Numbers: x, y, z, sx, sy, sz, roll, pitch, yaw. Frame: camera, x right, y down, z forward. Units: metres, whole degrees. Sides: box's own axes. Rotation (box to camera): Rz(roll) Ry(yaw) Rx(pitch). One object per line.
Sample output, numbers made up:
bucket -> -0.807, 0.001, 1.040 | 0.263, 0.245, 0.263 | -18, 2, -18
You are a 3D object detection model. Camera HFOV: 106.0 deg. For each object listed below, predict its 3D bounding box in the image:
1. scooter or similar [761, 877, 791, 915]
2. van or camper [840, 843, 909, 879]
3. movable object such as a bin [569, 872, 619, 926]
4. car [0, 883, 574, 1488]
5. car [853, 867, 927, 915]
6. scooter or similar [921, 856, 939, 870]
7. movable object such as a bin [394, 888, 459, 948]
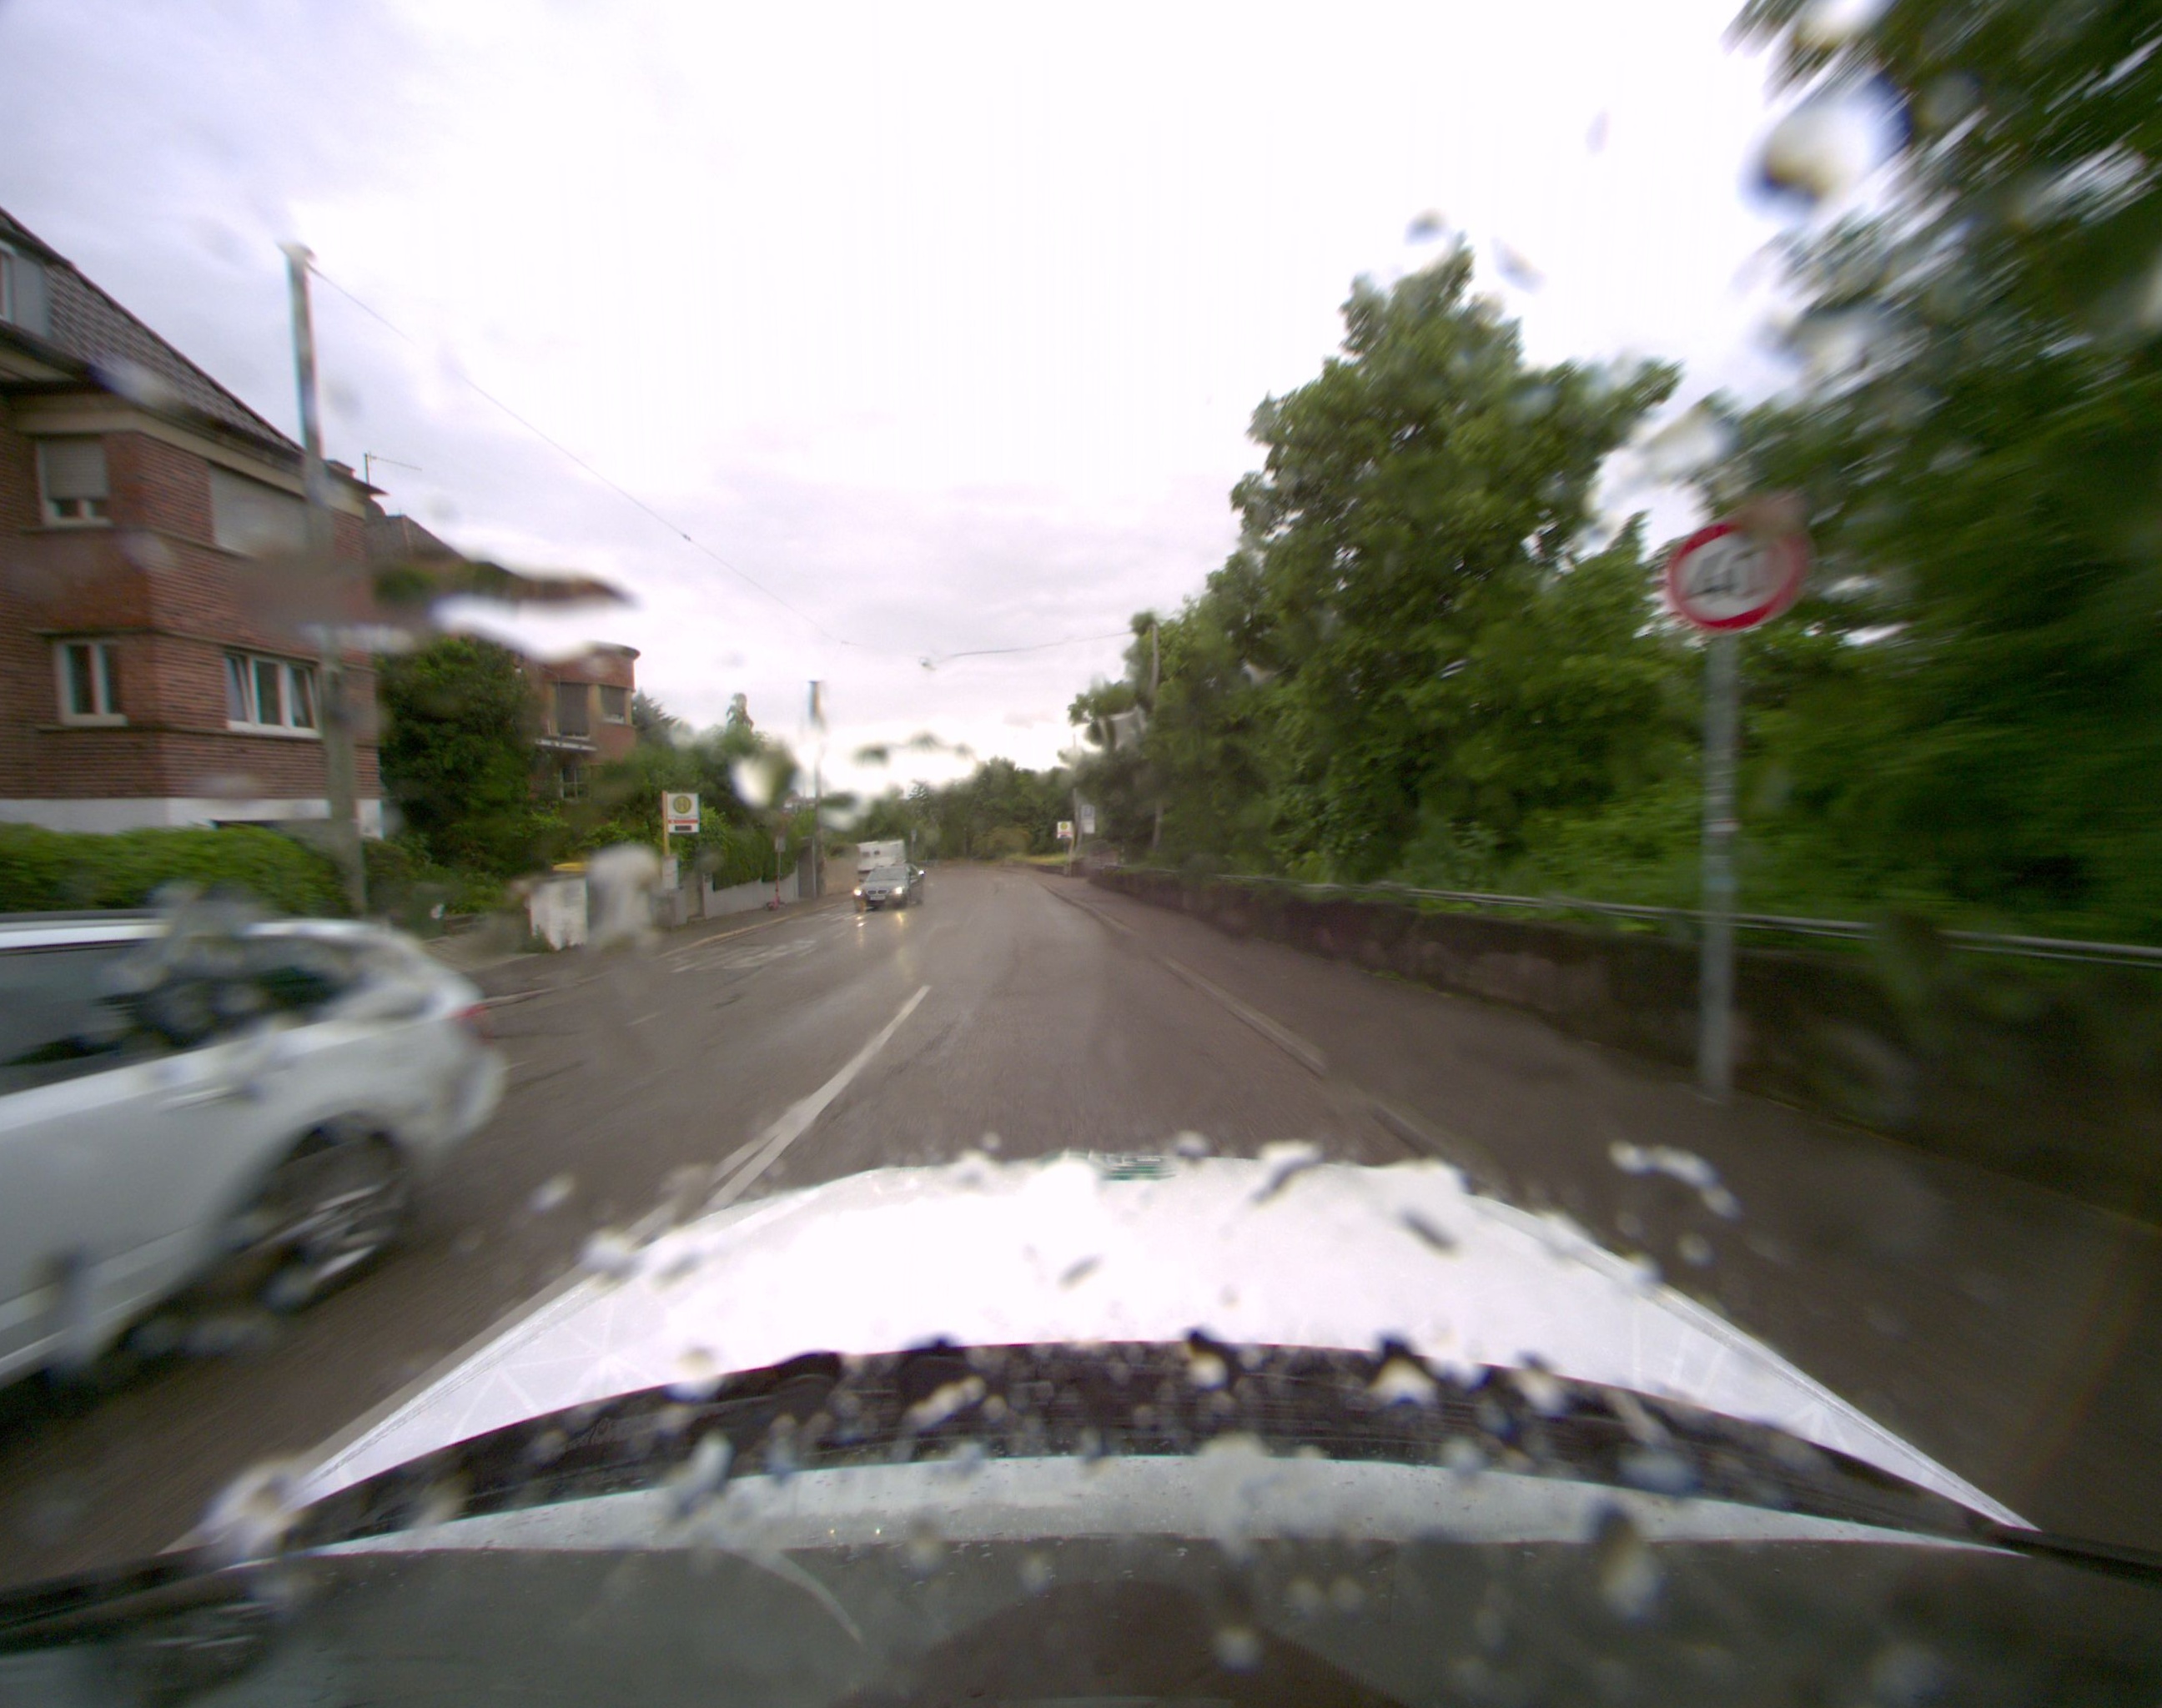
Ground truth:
scooter or similar -> -10.489, 1.438, 28.041 | 0.521, 1.203, 1.433 | -4, 0, -5
van or camper -> -20.503, 0.696, 80.698 | 6.203, 2.942, 2.413 | -3, 5, 25
movable object such as a bin -> -10.484, 0.965, 17.563 | 0.623, 1.081, 0.759 | 2, 1, -3
car -> -3.710, 0.929, 2.004 | 1.839, 1.474, 4.446 | -4, -1, 4
car -> -6.692, 1.258, 28.957 | 1.734, 1.450, 4.609 | -3, -1, -4
scooter or similar -> -15.049, 0.912, 80.998 | 1.688, 1.282, 0.454 | -4, 2, 26
movable object such as a bin -> -12.848, 1.248, 15.993 | 0.622, 1.081, 0.760 | 2, 1, 2
